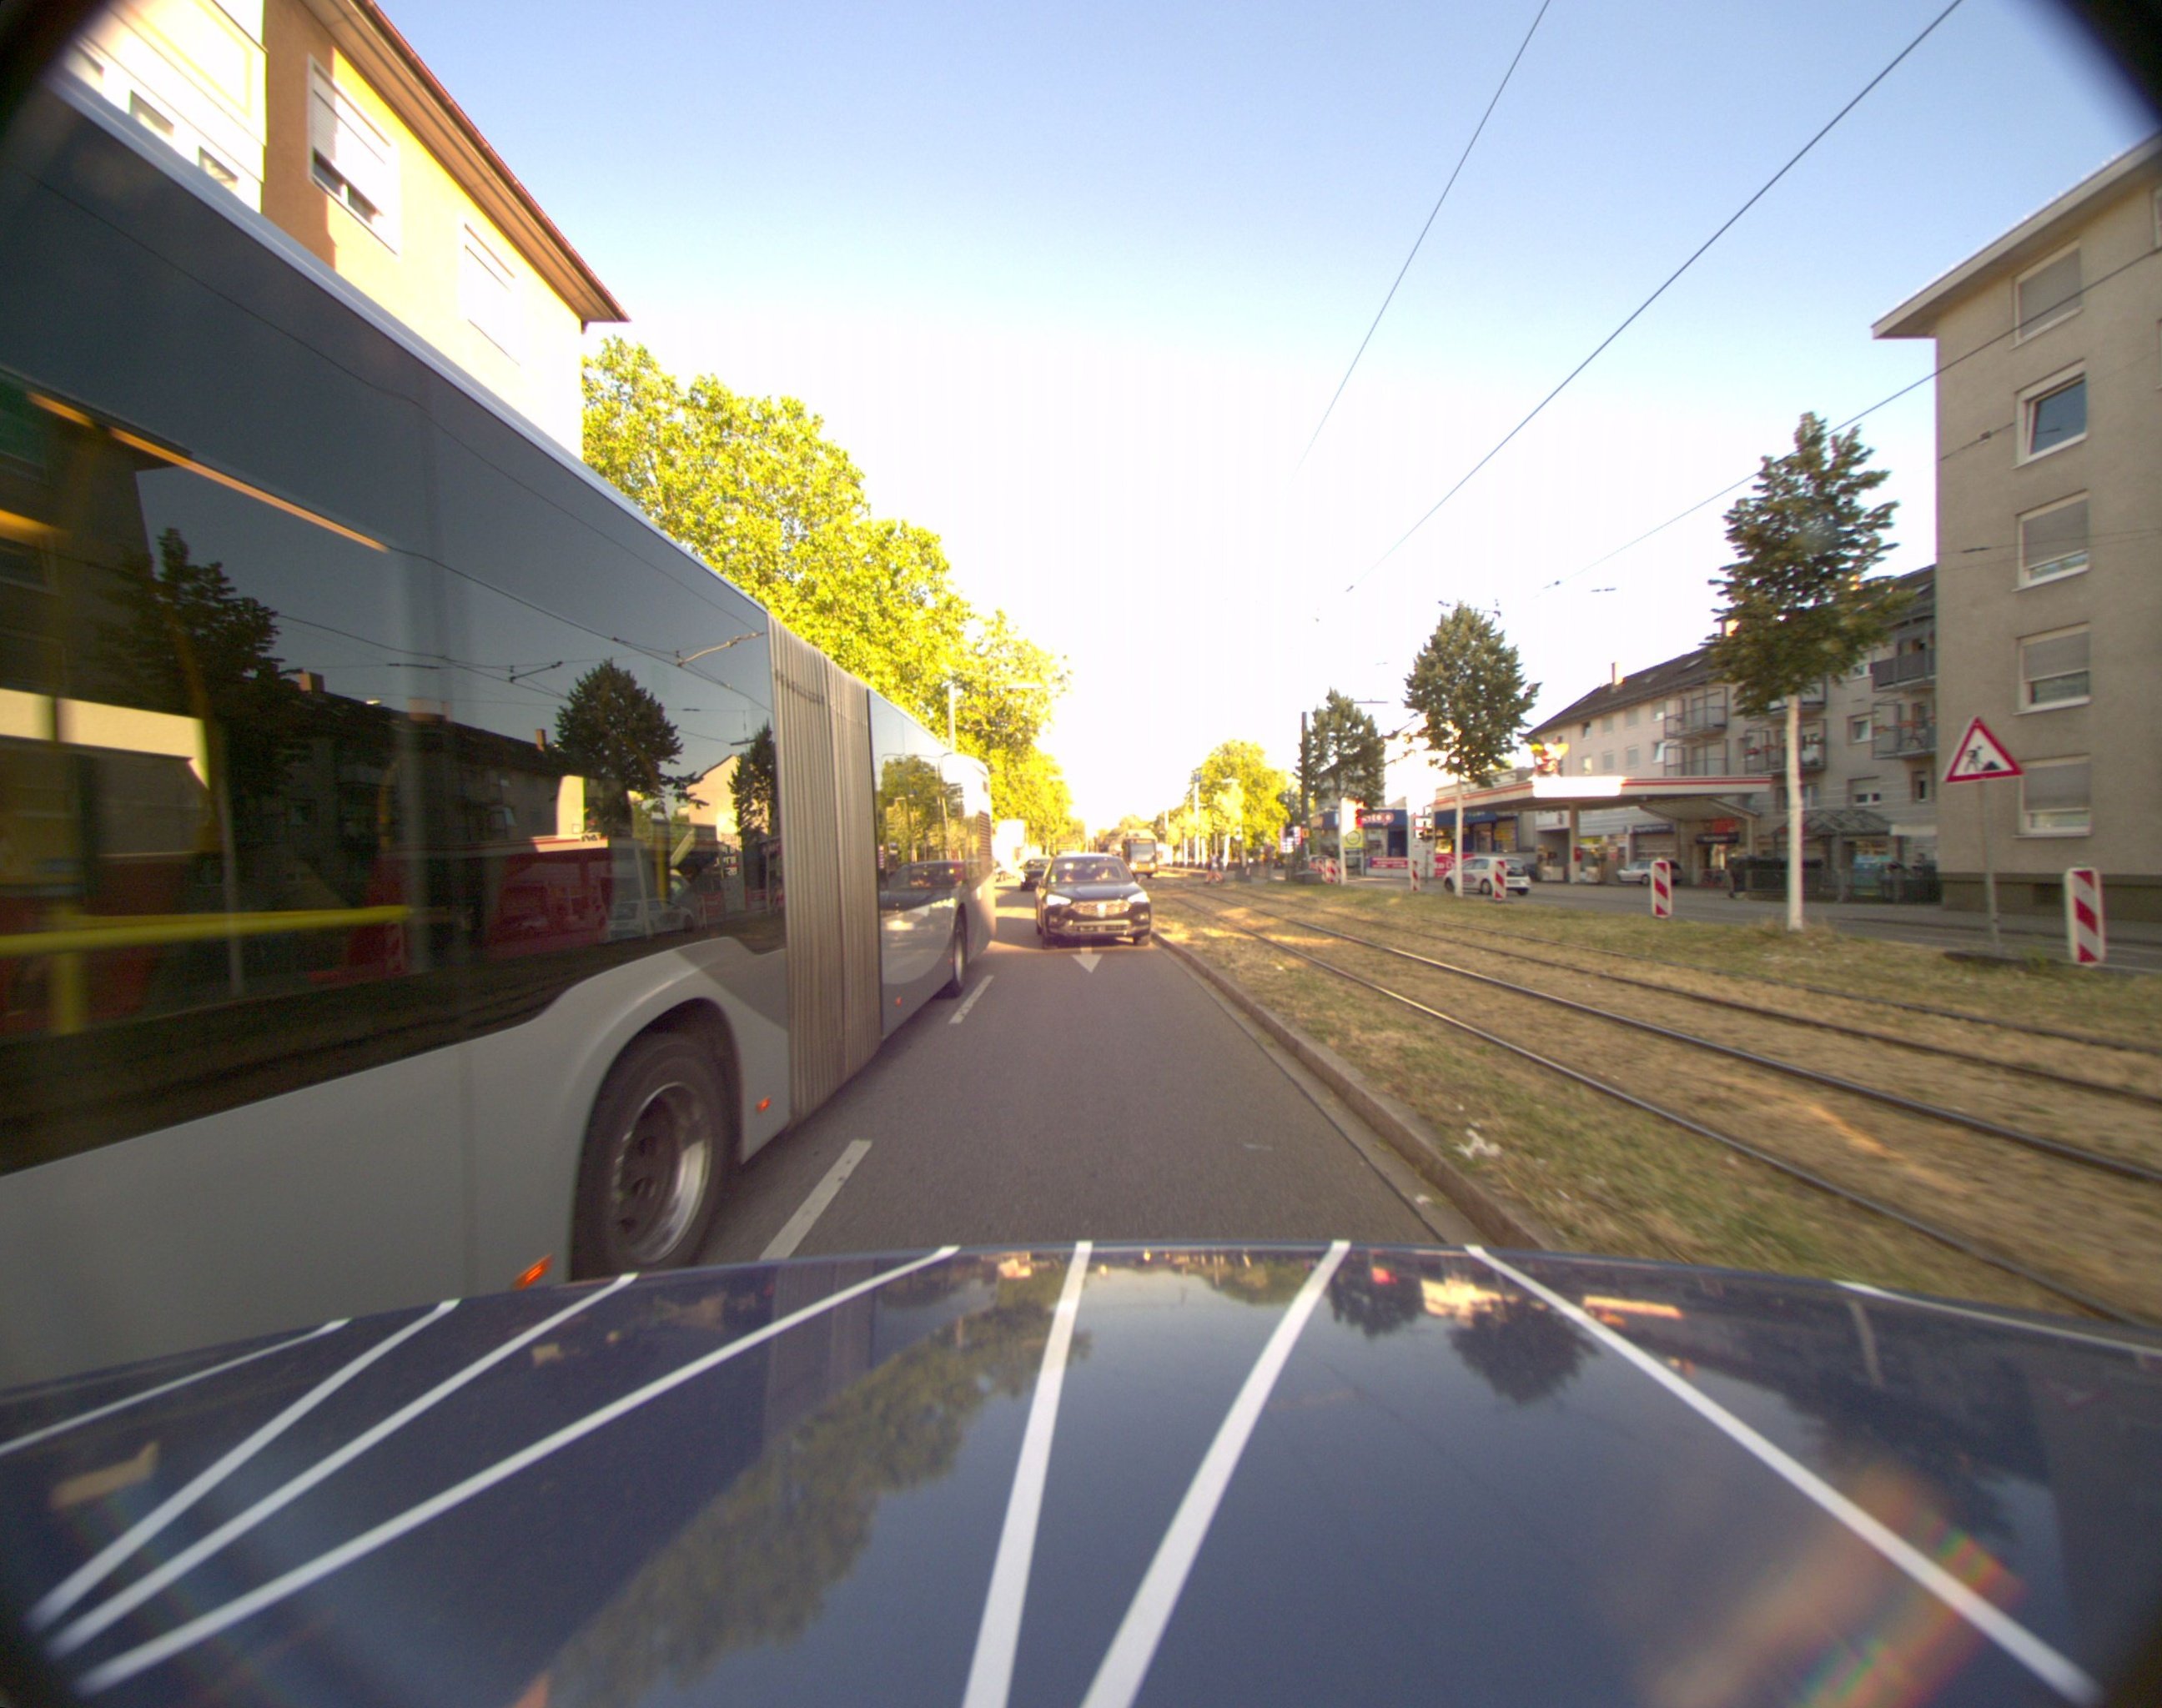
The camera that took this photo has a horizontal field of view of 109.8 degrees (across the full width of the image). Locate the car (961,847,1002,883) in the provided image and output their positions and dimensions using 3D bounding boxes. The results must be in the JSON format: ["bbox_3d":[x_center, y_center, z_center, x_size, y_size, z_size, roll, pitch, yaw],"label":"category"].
[{"bbox_3d":[-6.091,0.637,46.923,1.889,2.066,4.563,-1,0,1],"label":"car"}]

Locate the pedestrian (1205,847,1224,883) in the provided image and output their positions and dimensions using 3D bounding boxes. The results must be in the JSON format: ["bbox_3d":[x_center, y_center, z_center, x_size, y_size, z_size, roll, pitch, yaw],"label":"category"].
[{"bbox_3d":[7.129,0.568,40.472,0.860,1.921,0.755,0,1,-2],"label":"pedestrian"}]

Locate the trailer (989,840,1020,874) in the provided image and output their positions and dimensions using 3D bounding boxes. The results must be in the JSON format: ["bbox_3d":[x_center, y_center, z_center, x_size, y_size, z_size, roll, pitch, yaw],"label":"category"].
[{"bbox_3d":[-6.000,0.215,60.241,1.890,2.573,4.651,-1,0,1],"label":"trailer"}]

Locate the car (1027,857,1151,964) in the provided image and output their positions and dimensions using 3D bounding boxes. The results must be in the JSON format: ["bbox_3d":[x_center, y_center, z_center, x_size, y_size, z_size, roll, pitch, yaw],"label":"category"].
[{"bbox_3d":[0.084,0.900,14.138,1.911,1.606,4.085,-3,0,-1],"label":"car"}]

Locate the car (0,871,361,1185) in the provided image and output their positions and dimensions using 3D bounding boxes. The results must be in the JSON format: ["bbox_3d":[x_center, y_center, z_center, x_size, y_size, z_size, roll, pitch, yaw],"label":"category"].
[{"bbox_3d":[-6.349,0.895,3.581,1.843,1.528,4.230,0,0,1],"label":"car"}]

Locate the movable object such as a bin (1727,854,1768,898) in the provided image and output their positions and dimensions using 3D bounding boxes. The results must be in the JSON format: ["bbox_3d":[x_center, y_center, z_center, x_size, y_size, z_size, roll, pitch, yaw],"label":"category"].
[{"bbox_3d":[21.319,0.695,24.310,0.665,1.392,0.749,0,1,-1],"label":"movable object such as a bin"}]

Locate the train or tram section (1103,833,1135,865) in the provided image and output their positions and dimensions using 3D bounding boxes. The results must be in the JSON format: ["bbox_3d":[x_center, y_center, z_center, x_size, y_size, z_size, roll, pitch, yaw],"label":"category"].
[{"bbox_3d":[4.344,-0.630,89.133,3.043,3.497,10.094,1,1,-1],"label":"train or tram section"}]

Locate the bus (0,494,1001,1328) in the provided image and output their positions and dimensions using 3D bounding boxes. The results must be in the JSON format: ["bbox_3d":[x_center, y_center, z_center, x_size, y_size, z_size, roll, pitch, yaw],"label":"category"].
[{"bbox_3d":[-2.725,0.224,7.278,2.745,3.038,8.853,-2,0,1],"label":"bus"}]

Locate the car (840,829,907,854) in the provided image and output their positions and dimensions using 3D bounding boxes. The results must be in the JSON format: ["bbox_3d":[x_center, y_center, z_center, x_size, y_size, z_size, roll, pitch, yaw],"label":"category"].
[{"bbox_3d":[-14.505,-0.863,53.361,4.122,1.541,1.803,-3,0,2],"label":"car"}]

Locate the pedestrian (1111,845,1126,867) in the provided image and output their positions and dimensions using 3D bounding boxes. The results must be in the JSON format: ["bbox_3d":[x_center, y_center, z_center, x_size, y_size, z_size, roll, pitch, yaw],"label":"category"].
[{"bbox_3d":[2.698,0.131,55.410,0.918,1.541,0.788,-2,1,-8],"label":"pedestrian"}]

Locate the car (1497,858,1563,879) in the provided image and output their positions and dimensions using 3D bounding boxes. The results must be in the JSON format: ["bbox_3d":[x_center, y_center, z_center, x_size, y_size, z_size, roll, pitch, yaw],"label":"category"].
[{"bbox_3d":[33.199,1.038,56.201,3.803,1.514,1.818,0,0,4],"label":"car"}]

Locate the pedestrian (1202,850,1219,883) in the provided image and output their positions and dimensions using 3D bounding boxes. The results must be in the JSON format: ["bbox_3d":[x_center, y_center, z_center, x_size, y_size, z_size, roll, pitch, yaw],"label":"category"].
[{"bbox_3d":[7.065,0.665,41.397,0.755,1.737,0.860,0,1,-3],"label":"pedestrian"}]

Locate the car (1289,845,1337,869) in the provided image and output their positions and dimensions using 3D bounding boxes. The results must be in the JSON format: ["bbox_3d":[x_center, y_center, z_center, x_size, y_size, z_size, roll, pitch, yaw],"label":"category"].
[{"bbox_3d":[16.096,0.165,52.967,1.816,1.551,4.933,0,1,0],"label":"car"}]

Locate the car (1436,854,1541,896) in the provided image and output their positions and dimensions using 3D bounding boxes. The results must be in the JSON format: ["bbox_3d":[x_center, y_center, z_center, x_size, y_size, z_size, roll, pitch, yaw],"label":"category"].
[{"bbox_3d":[15.916,0.771,29.901,1.817,1.503,3.826,0,1,-6],"label":"car"}]

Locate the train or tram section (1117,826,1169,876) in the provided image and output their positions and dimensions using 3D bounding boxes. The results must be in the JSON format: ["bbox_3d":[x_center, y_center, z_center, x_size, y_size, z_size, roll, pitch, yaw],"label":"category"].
[{"bbox_3d":[4.615,-0.263,58.859,3.043,3.497,10.094,1,1,-1],"label":"train or tram section"}]

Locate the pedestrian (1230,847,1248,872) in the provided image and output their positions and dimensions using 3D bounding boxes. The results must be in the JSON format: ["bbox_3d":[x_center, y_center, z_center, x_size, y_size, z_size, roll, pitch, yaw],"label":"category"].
[{"bbox_3d":[10.897,0.360,52.405,0.937,1.644,0.926,-3,1,1],"label":"pedestrian"}]

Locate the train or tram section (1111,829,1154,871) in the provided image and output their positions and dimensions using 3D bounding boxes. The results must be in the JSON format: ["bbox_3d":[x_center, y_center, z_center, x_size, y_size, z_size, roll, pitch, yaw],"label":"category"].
[{"bbox_3d":[4.519,-0.390,68.939,3.043,3.497,10.094,1,1,-1],"label":"train or tram section"}]

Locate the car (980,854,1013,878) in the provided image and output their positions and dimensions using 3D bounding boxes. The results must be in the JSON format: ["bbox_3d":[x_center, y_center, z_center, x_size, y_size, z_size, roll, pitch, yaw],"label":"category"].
[{"bbox_3d":[-5.915,0.799,53.577,1.800,1.621,4.000,0,0,1],"label":"car"}]

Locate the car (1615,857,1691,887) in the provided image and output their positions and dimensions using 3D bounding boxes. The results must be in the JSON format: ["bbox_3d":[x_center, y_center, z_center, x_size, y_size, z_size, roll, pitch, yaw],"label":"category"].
[{"bbox_3d":[33.775,1.037,45.011,1.816,1.514,3.830,-2,1,5],"label":"car"}]

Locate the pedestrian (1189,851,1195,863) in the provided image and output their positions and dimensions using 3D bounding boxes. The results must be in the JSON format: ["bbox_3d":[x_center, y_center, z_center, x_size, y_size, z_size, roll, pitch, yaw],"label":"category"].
[{"bbox_3d":[17.688,0.401,121.191,0.755,1.871,1.000,-3,1,-1],"label":"pedestrian"}]

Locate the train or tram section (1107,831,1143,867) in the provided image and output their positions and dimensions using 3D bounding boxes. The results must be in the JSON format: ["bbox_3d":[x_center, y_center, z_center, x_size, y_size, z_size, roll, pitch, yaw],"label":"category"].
[{"bbox_3d":[4.435,-0.512,79.035,3.043,3.497,10.094,1,1,-1],"label":"train or tram section"}]
